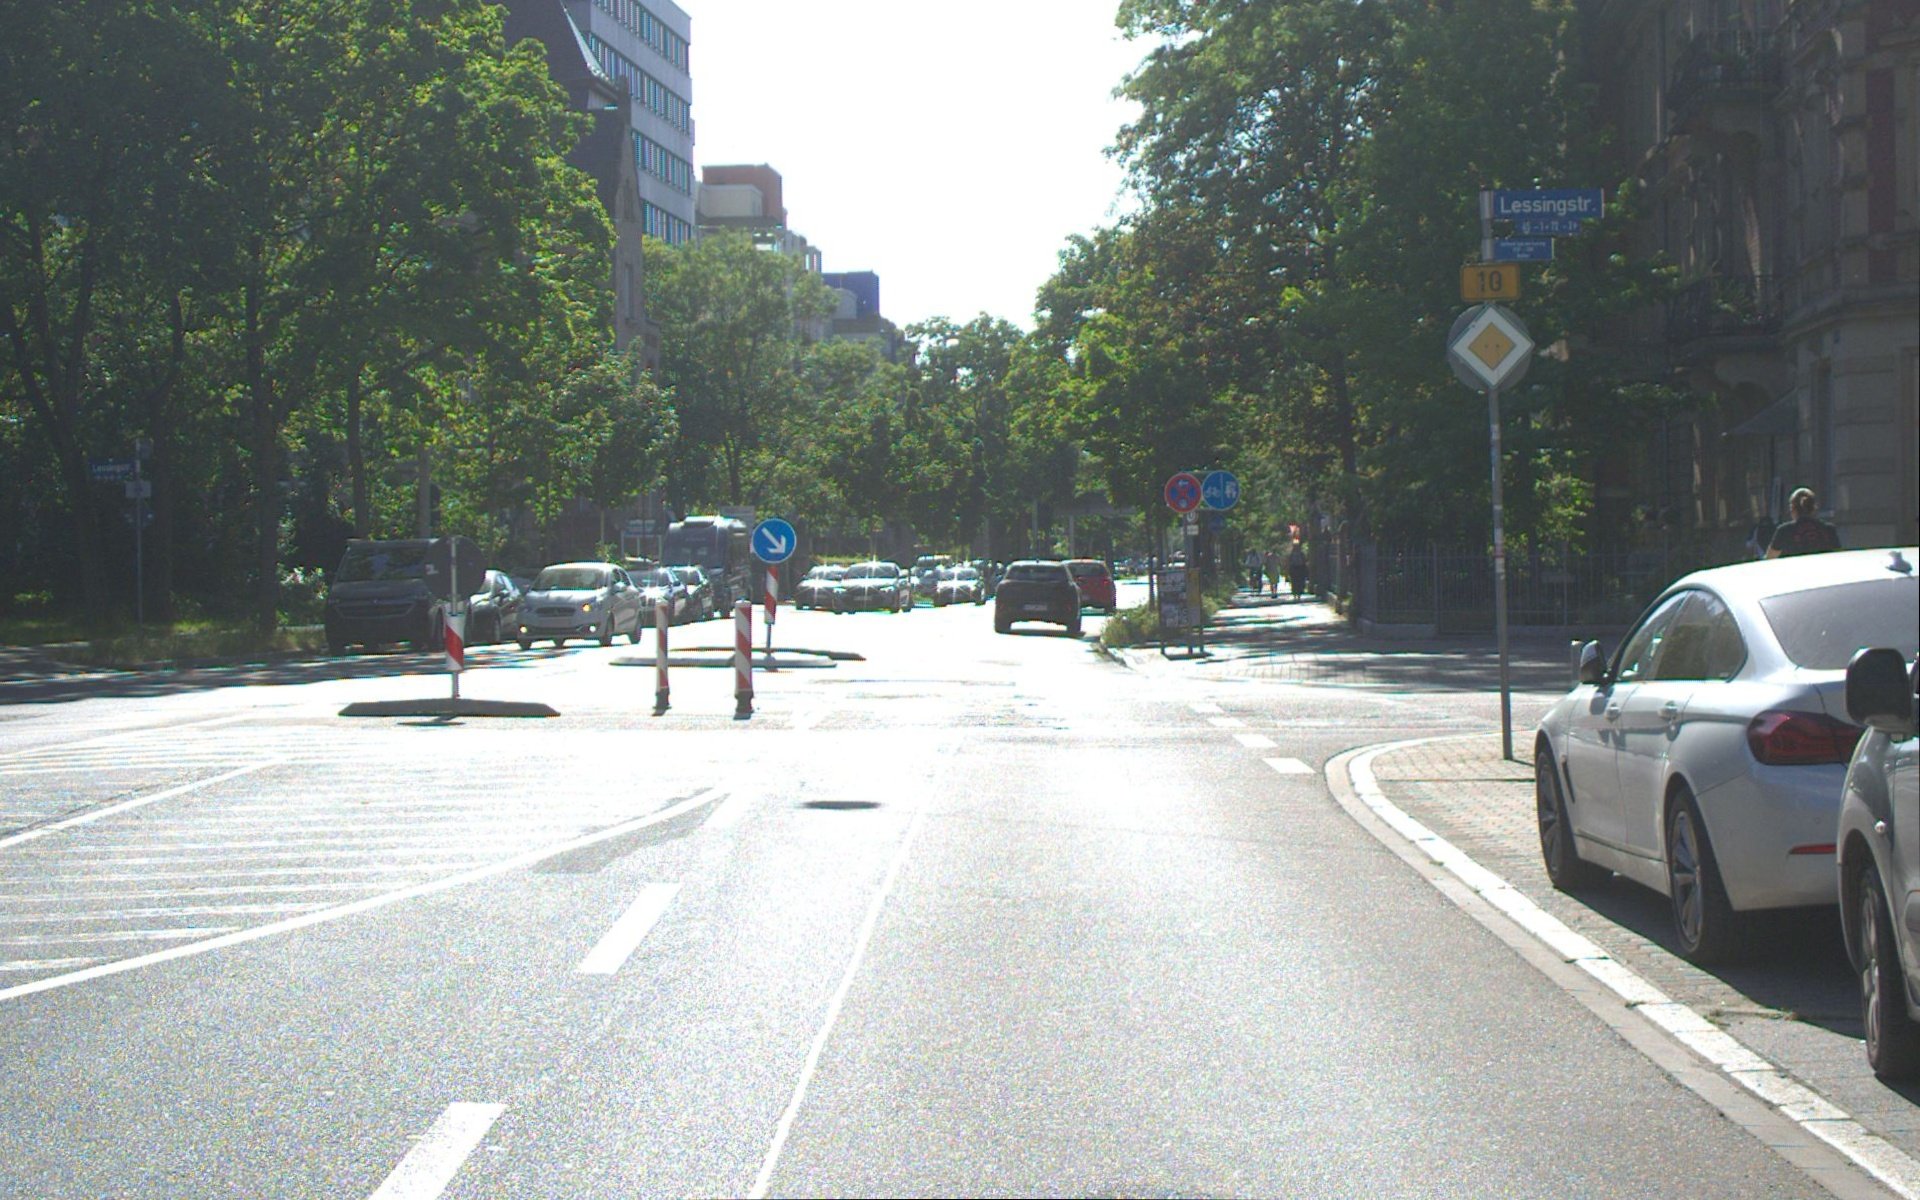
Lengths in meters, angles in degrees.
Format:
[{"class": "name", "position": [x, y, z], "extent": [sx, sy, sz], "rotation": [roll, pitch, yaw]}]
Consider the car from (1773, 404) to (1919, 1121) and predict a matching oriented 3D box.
[{"class": "car", "position": [3.345, 0.414, 8.389], "extent": [1.819, 1.837, 4.364], "rotation": [-1, 1, 2]}]

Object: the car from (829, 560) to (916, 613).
[{"class": "car", "position": [-2.421, -0.364, 96.330], "extent": [1.785, 1.455, 4.414], "rotation": [0, 0, 7]}]

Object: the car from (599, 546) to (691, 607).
[{"class": "car", "position": [-7.599, -0.574, 83.200], "extent": [1.524, 1.427, 3.336], "rotation": [0, 1, 7]}]

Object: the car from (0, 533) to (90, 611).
[{"class": "car", "position": [-20.339, -0.628, 75.539], "extent": [1.974, 1.656, 4.001], "rotation": [-1, 1, -20]}]

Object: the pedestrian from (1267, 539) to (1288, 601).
[{"class": "pedestrian", "position": [10.394, -0.979, 112.597], "extent": [0.614, 2.007, 0.681], "rotation": [0, 1, 1]}]

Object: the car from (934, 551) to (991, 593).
[{"class": "car", "position": [0.112, -1.059, 129.224], "extent": [1.639, 1.514, 4.029], "rotation": [0, 1, 7]}]

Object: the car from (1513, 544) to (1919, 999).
[{"class": "car", "position": [3.352, 0.526, 13.319], "extent": [1.709, 1.420, 4.206], "rotation": [-2, 1, 0]}]

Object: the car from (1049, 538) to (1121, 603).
[{"class": "car", "position": [3.442, -0.821, 94.213], "extent": [1.819, 1.734, 4.000], "rotation": [0, 1, 4]}]

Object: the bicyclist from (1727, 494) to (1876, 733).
[{"class": "bicyclist", "position": [5.687, 0.074, 23.280], "extent": [0.741, 1.574, 1.100], "rotation": [0, 2, 2]}]

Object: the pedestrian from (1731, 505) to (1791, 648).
[{"class": "pedestrian", "position": [10.282, -0.292, 44.154], "extent": [0.656, 1.810, 0.751], "rotation": [0, -2, 5]}]

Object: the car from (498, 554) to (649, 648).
[{"class": "car", "position": [-6.847, -0.005, 61.274], "extent": [1.759, 1.514, 3.858], "rotation": [-2, 2, 7]}]

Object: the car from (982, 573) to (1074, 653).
[{"class": "car", "position": [1.473, 0.259, 74.437], "extent": [1.894, 1.514, 4.000], "rotation": [2, 2, 1]}]

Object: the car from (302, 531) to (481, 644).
[{"class": "car", "position": [-10.142, -0.246, 61.706], "extent": [2.199, 1.923, 4.862], "rotation": [-1, 1, 2]}]

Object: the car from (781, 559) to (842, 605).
[{"class": "car", "position": [-4.975, -0.624, 115.674], "extent": [1.802, 1.499, 3.808], "rotation": [0, 1, 2]}]

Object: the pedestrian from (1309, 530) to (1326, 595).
[{"class": "pedestrian", "position": [11.190, -1.164, 107.708], "extent": [0.476, 2.007, 0.492], "rotation": [0, -2, 1]}]
